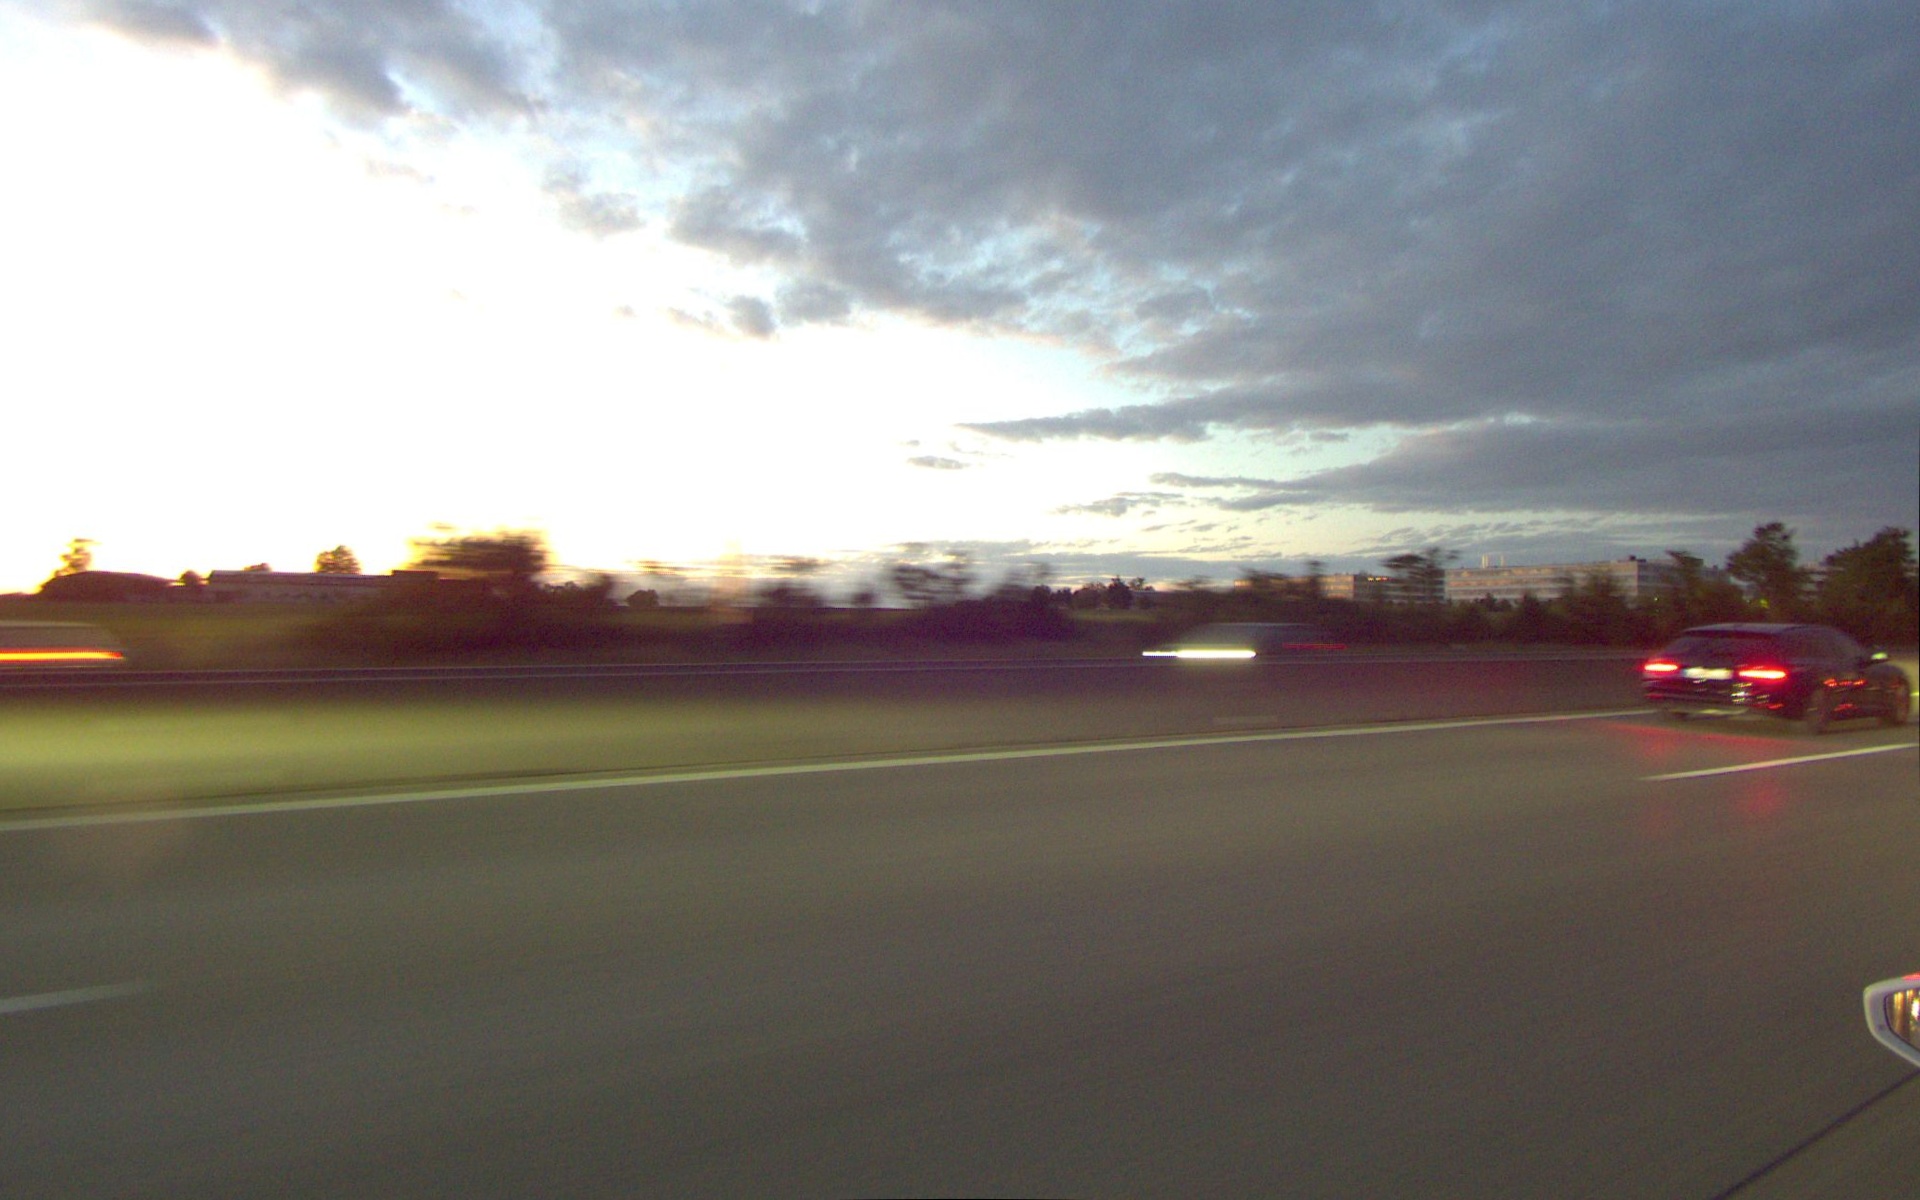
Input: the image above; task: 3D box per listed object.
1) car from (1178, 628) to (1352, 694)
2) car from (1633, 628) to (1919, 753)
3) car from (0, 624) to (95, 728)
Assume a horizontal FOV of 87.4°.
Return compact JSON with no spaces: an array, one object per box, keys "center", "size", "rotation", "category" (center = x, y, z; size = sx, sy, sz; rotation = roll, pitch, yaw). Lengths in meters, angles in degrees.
[{"center":[7.961,1.567,26.073],"size":[4.468,1.518,1.735],"rotation":[2,0,-31],"category":"car"},{"center":[12.009,1.191,14.399],"size":[5.332,1.456,1.805],"rotation":[2,0,-31],"category":"car"},{"center":[-16.628,1.152,15.640],"size":[4.468,1.556,1.735],"rotation":[2,0,-31],"category":"car"}]
